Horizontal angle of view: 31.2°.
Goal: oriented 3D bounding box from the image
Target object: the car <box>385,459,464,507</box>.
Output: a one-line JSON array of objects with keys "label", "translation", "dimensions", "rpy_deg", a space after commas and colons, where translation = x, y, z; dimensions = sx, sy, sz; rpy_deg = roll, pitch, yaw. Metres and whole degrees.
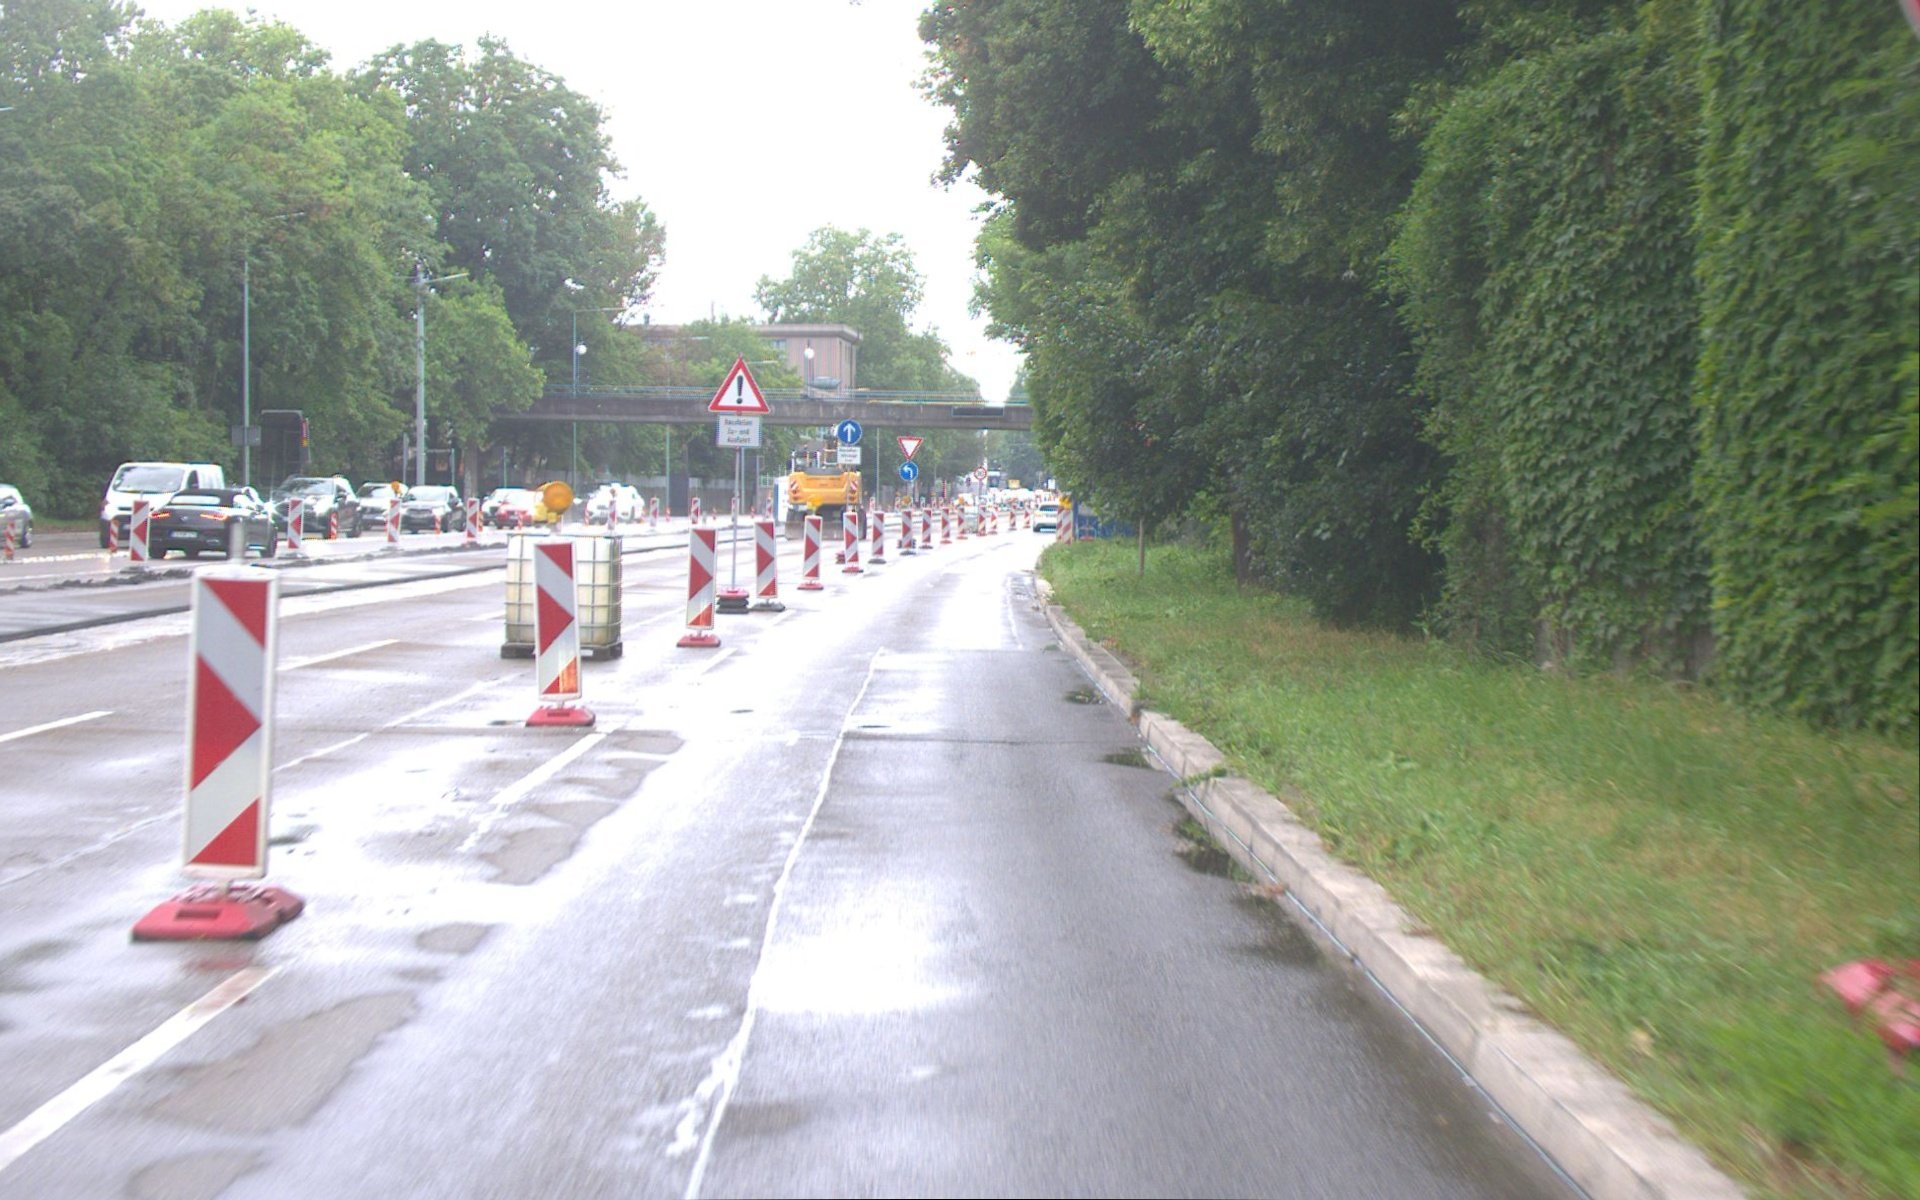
[{"label": "car", "translation": [-17.263, -3.801, 110.994], "dimensions": [1.776, 1.482, 4.197], "rpy_deg": [1, 2, 1]}]

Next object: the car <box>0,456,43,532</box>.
[{"label": "car", "translation": [-21.185, -2.300, 74.001], "dimensions": [1.827, 1.616, 4.001], "rpy_deg": [0, 2, 0]}]

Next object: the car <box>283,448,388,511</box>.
[{"label": "car", "translation": [-18.056, -3.497, 99.594], "dimensions": [2.021, 1.719, 5.013], "rpy_deg": [2, 2, 1]}]

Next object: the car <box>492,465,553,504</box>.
[{"label": "car", "translation": [-16.296, -4.310, 128.330], "dimensions": [1.679, 1.395, 4.013], "rpy_deg": [1, 2, 1]}]

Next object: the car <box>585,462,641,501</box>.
[{"label": "car", "translation": [-15.103, -5.177, 149.871], "dimensions": [1.890, 1.655, 4.894], "rpy_deg": [1, 2, 1]}]

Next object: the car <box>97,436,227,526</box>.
[{"label": "car", "translation": [-18.390, -2.776, 79.449], "dimensions": [1.993, 1.965, 4.904], "rpy_deg": [1, 2, -2]}]

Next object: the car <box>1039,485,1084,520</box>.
[{"label": "car", "translation": [4.844, -4.657, 163.595], "dimensions": [1.994, 1.634, 4.000], "rpy_deg": [0, 2, 4]}]

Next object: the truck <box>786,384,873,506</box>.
[{"label": "truck", "translation": [-4.745, -5.702, 127.221], "dimensions": [2.897, 4.244, 10.757], "rpy_deg": [2, 2, -1]}]
